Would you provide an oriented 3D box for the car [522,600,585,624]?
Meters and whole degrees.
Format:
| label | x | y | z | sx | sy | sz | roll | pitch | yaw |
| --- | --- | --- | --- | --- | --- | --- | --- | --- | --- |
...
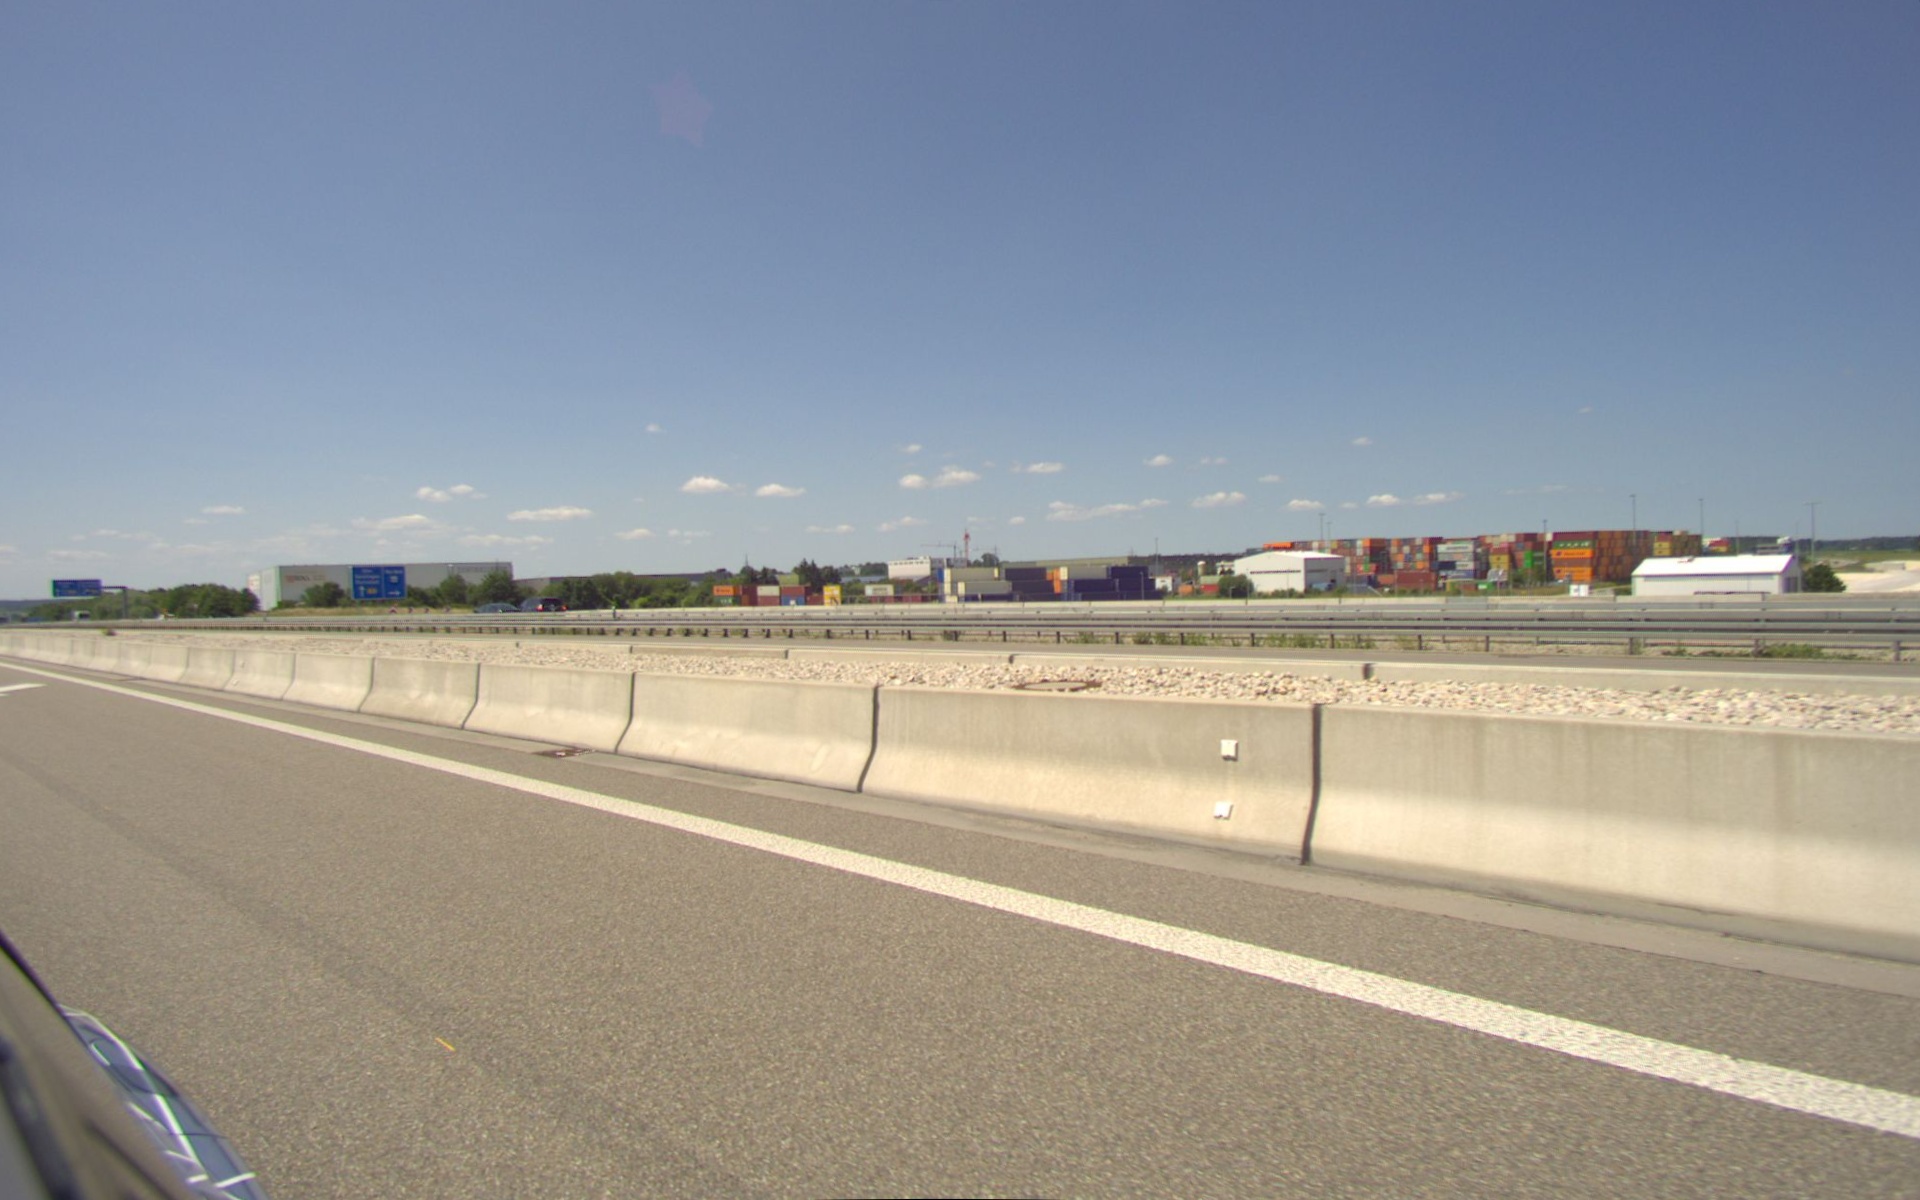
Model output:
| label | x | y | z | sx | sy | sz | roll | pitch | yaw |
| --- | --- | --- | --- | --- | --- | --- | --- | --- | --- |
| car | -25.480 | 0.762 | 63.369 | 4.362 | 1.390 | 1.972 | -2 | 0 | 43 |

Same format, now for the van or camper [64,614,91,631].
| label | x | y | z | sx | sy | sz | roll | pitch | yaw |
| --- | --- | --- | --- | --- | --- | --- | --- | --- | --- |
| van or camper | -156.343 | 4.044 | 179.248 | 7.538 | 2.843 | 2.520 | -2 | 0 | 41 |
